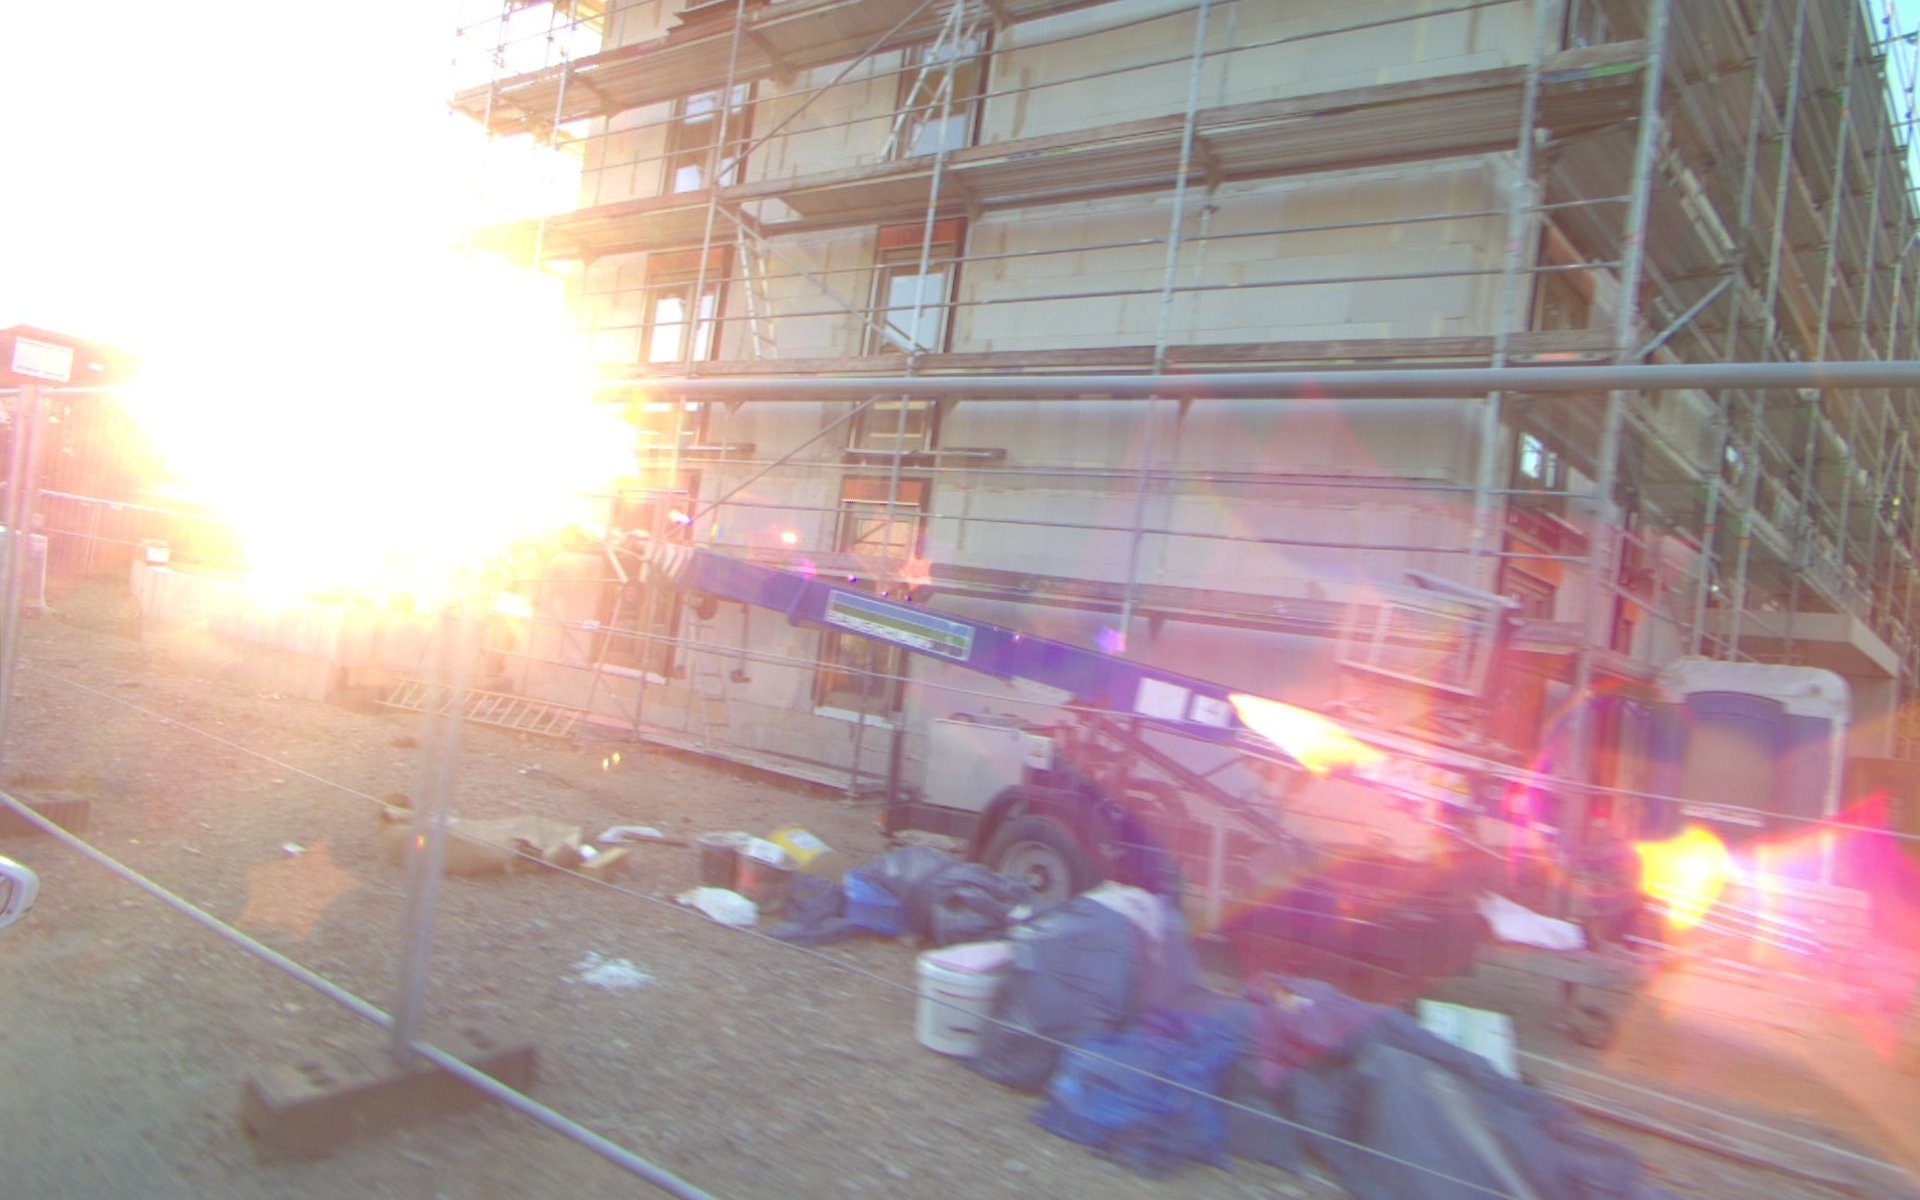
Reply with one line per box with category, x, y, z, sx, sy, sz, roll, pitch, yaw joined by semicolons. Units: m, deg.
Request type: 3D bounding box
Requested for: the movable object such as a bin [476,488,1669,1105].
movable object such as a bin;-0.076;0.661;7.281;8.233;2.300;2.068;6;-2;34
